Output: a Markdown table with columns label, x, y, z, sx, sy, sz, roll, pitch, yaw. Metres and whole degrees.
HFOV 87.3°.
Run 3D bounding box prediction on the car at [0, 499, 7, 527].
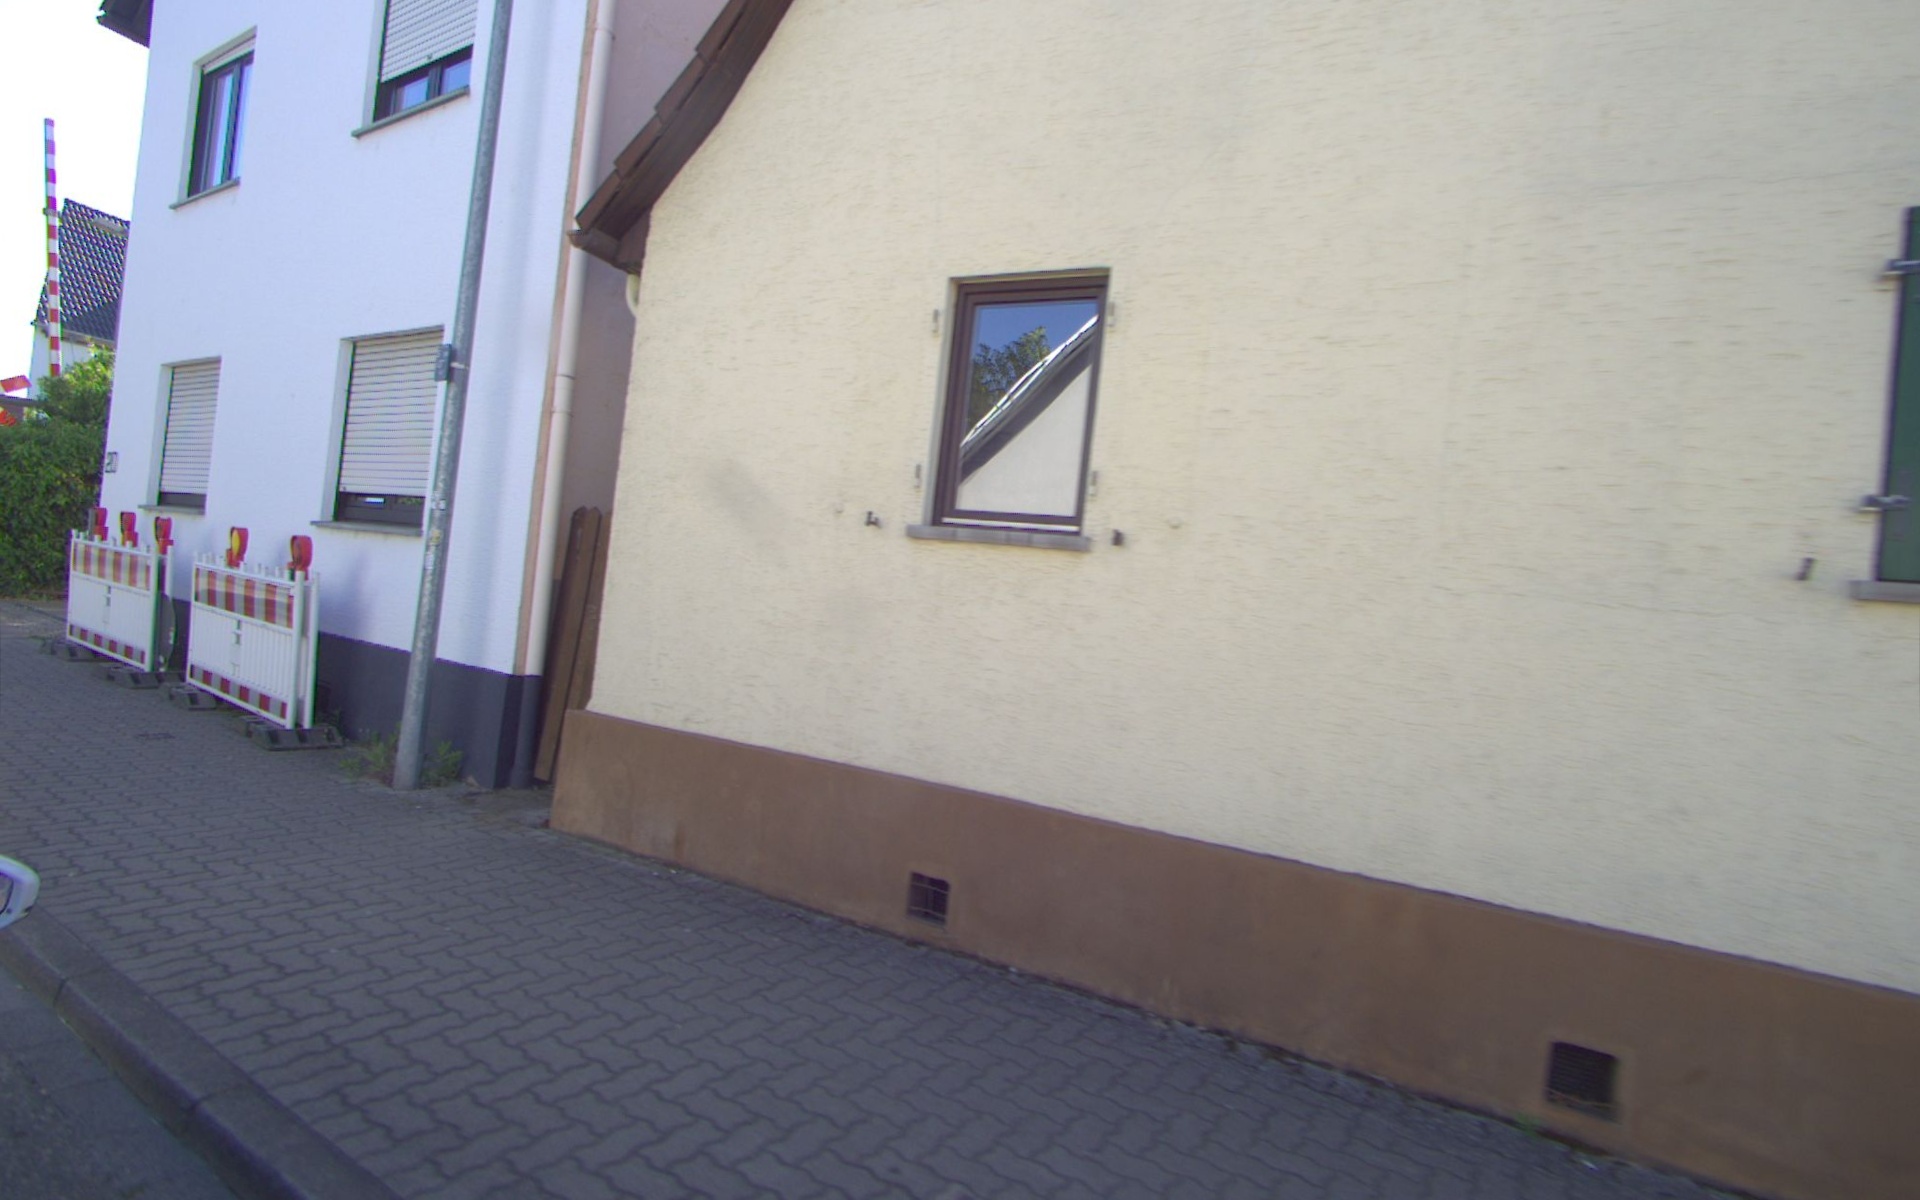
| label | x | y | z | sx | sy | sz | roll | pitch | yaw |
| --- | --- | --- | --- | --- | --- | --- | --- | --- | --- |
| car | -54.939 | -5.016 | 56.106 | 1.690 | 1.537 | 4.090 | 5 | -1 | -31 |

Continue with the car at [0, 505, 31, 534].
| label | x | y | z | sx | sy | sz | roll | pitch | yaw |
| --- | --- | --- | --- | --- | --- | --- | --- | --- | --- |
| car | -57.327 | -4.860 | 60.260 | 1.661 | 1.591 | 3.933 | 5 | 0 | -32 |

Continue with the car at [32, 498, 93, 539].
| label | x | y | z | sx | sy | sz | roll | pitch | yaw |
| --- | --- | --- | --- | --- | --- | --- | --- | --- | --- |
| car | -63.787 | -5.734 | 71.610 | 2.060 | 2.424 | 5.170 | 5 | 0 | -30 |
